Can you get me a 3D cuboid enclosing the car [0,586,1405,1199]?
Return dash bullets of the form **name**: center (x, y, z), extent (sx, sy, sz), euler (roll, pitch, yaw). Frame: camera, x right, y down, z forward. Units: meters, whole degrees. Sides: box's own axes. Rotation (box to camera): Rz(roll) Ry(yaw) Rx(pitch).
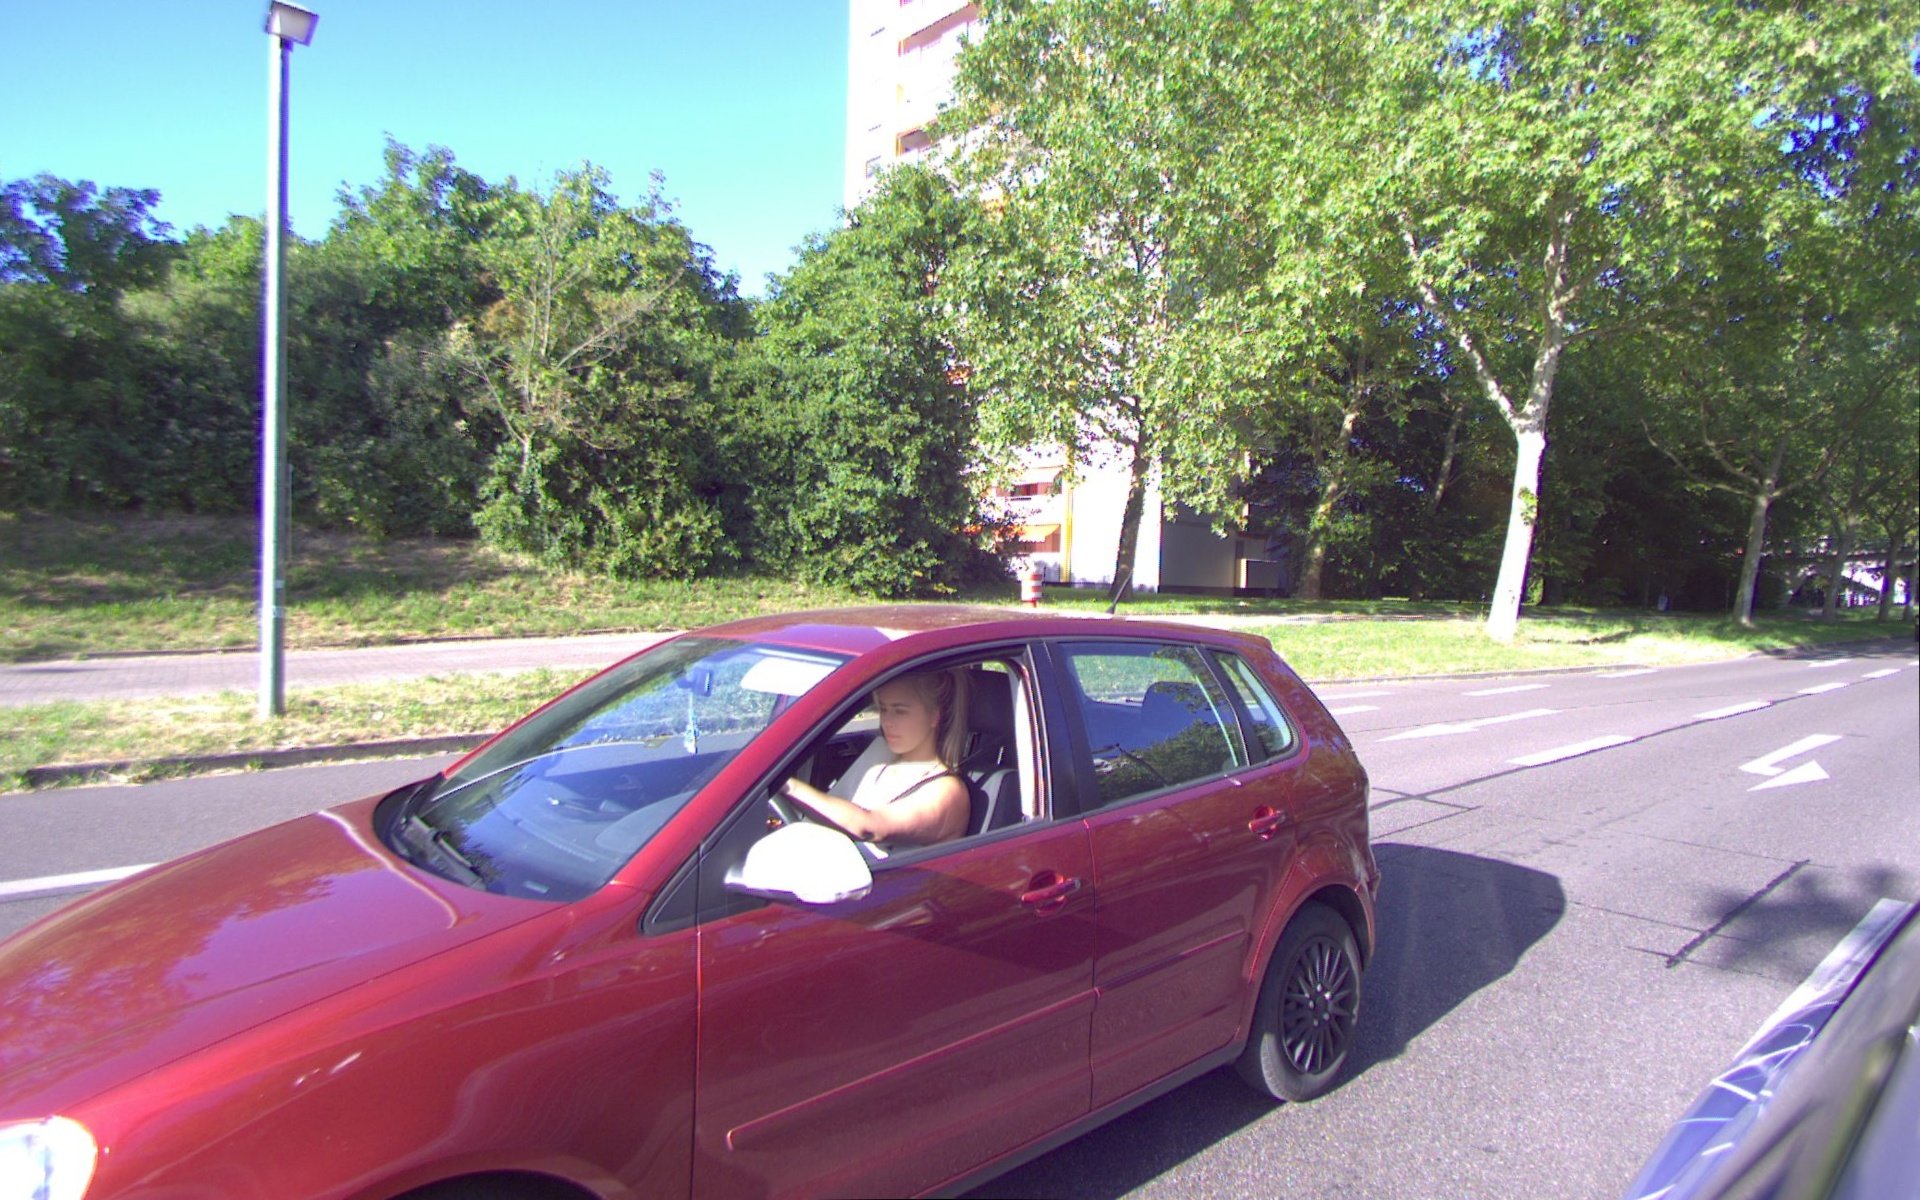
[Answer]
- **car**: center (-0.442, 0.711, 2.722), extent (3.624, 1.479, 1.579), euler (-1, 0, -40)
